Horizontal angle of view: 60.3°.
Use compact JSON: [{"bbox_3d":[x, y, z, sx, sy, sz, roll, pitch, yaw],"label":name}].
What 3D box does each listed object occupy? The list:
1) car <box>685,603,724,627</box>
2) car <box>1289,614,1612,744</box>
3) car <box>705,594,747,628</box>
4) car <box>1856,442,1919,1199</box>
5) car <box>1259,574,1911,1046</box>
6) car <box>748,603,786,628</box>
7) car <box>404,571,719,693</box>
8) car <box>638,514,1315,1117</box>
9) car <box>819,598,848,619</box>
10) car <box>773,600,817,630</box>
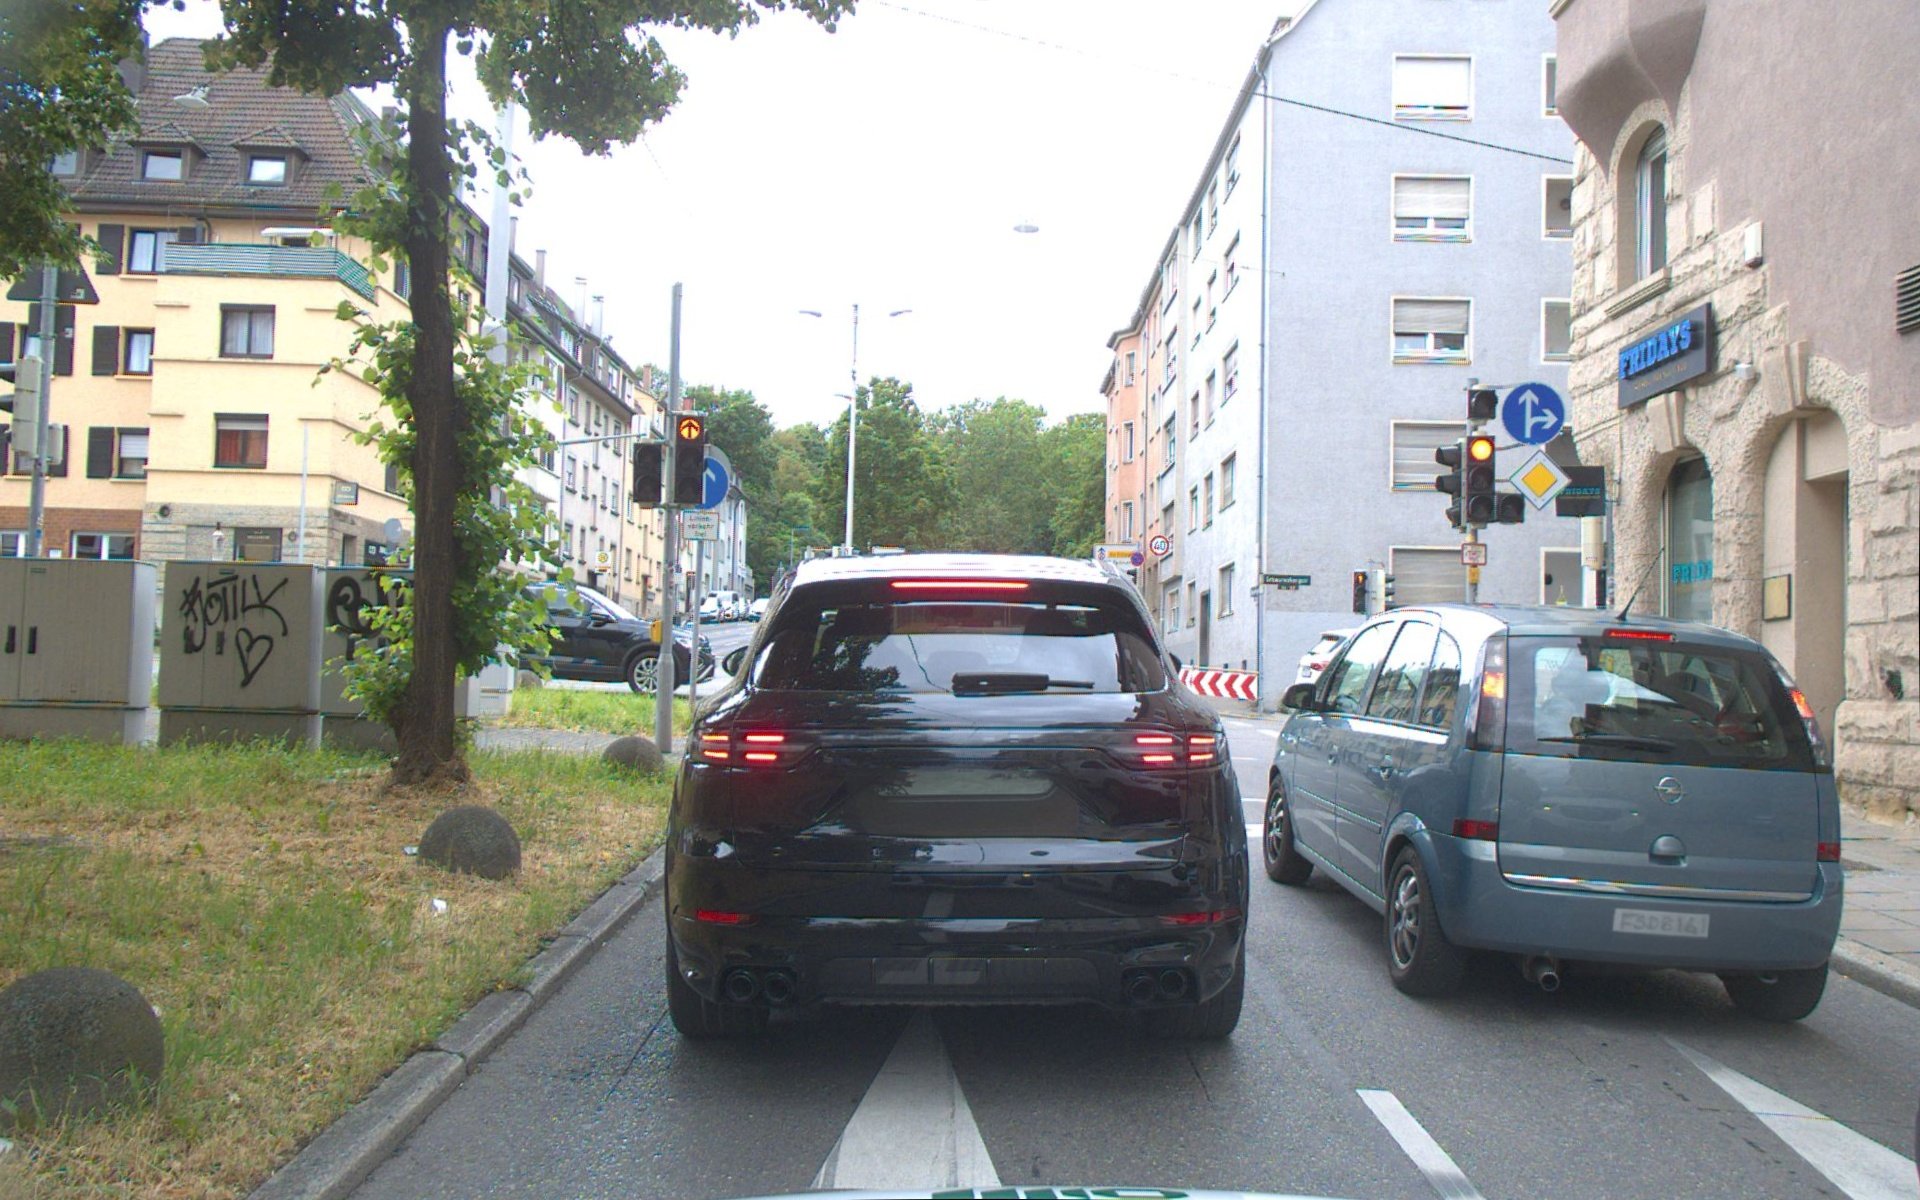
[{"bbox_3d":[-15.181,0.893,98.472,1.703,1.411,3.813,1,0,0],"label":"car"},{"bbox_3d":[7.052,1.124,24.052,4.163,1.622,1.691,3,-2,1],"label":"car"},{"bbox_3d":[-14.720,0.668,104.393,1.975,2.081,4.666,1,0,0],"label":"car"},{"bbox_3d":[2.899,0.654,1.039,1.936,1.806,4.674,4,0,-2],"label":"car"},{"bbox_3d":[2.630,0.778,7.900,1.596,1.625,3.668,4,0,-1],"label":"car"},{"bbox_3d":[-12.175,0.992,104.719,1.806,1.512,3.898,1,0,2],"label":"car"},{"bbox_3d":[-5.564,0.458,23.555,4.158,1.547,1.663,2,-1,-8],"label":"car"},{"bbox_3d":[0.025,0.620,6.696,1.916,1.704,3.999,0,0,-1],"label":"car"},{"bbox_3d":[-9.783,0.656,128.335,1.933,1.638,4.557,1,0,-1],"label":"car"},{"bbox_3d":[-8.302,0.750,83.440,1.824,1.412,4.094,1,0,0],"label":"car"}]
